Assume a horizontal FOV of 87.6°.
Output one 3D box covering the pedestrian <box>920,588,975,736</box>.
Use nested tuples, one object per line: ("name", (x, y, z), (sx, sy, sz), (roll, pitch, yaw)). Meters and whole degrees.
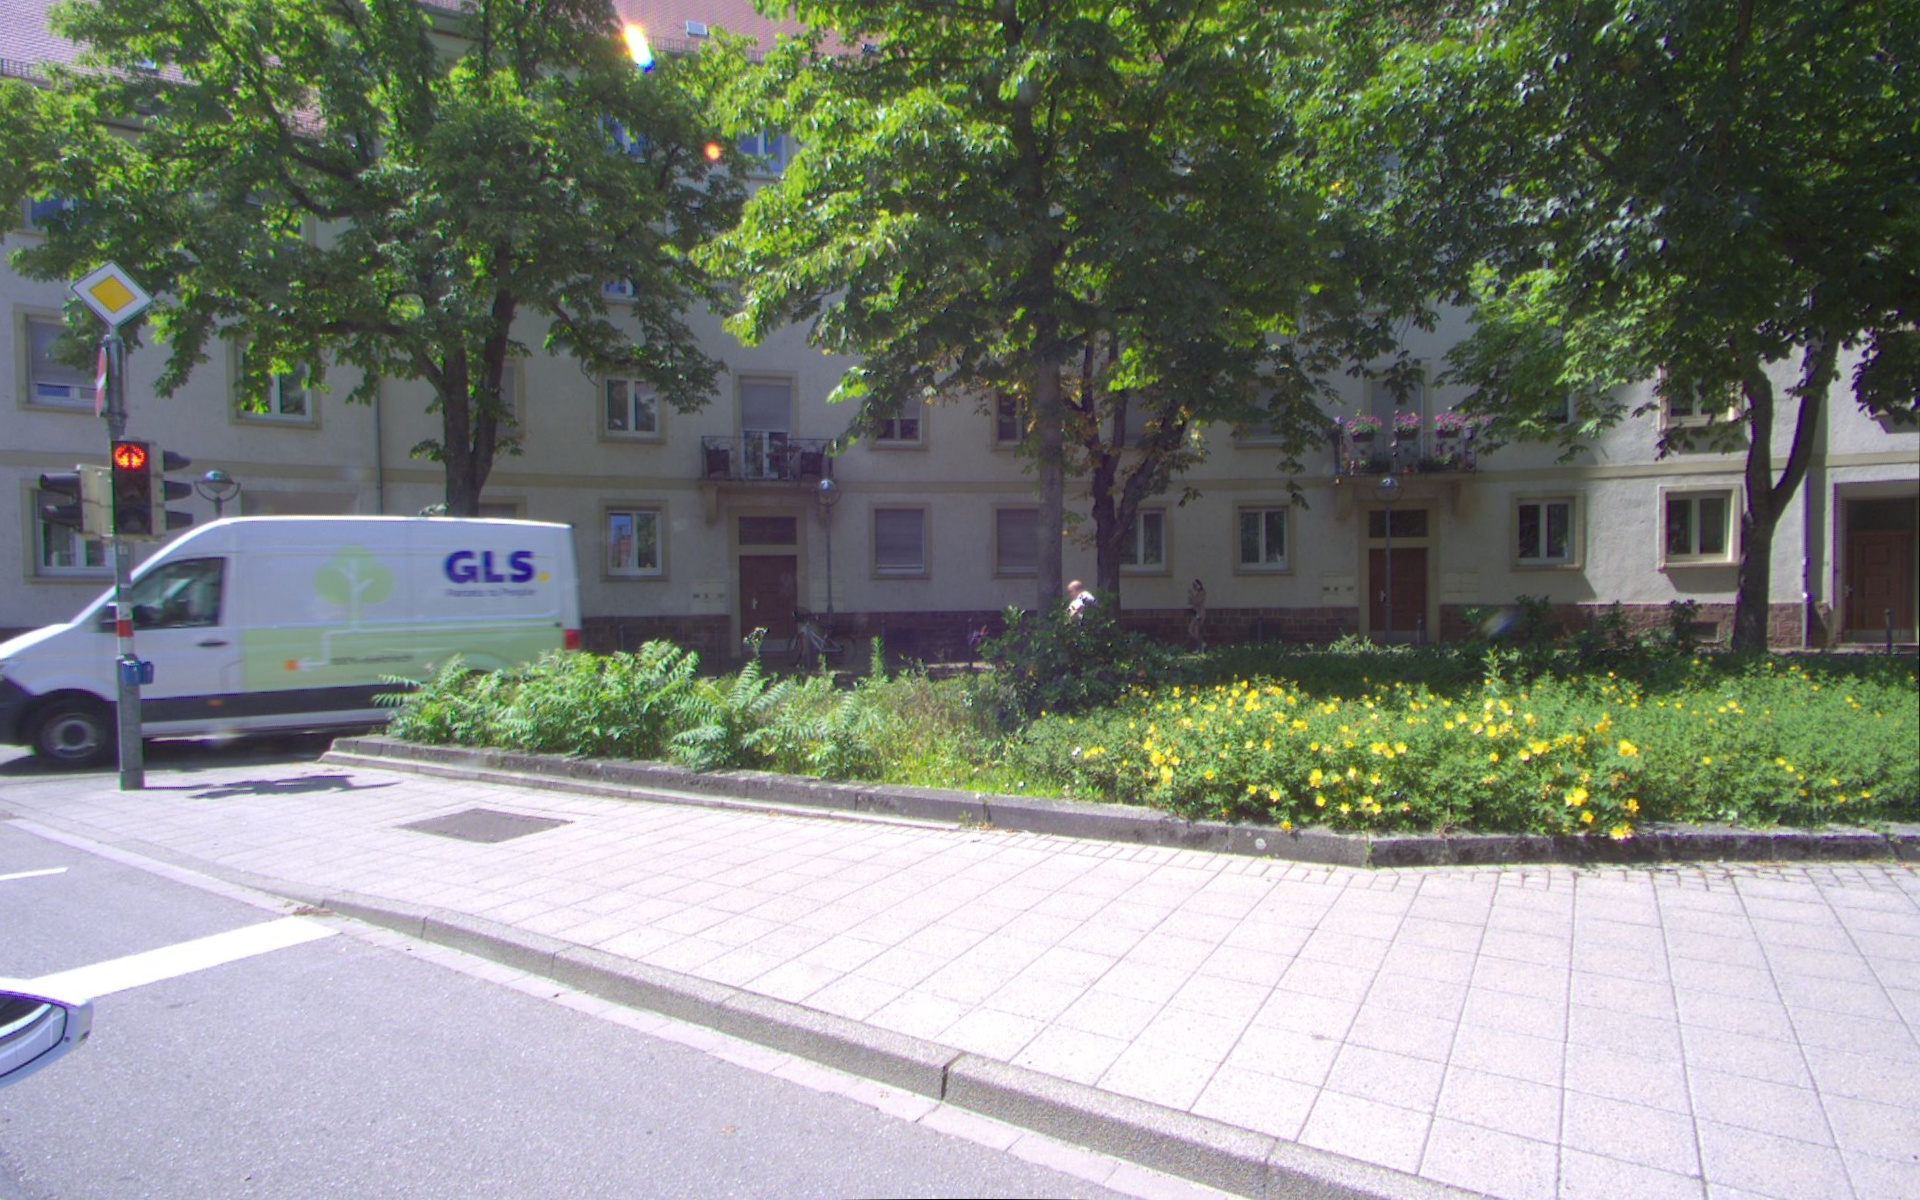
("pedestrian", (-0.110, 0.554, 9.079), (0.345, 1.301, 0.365), (-1, 0, 32))

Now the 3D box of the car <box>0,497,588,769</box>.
("car", (-7.422, 0.310, 11.547), (5.756, 2.624, 1.993), (-1, 1, -24))

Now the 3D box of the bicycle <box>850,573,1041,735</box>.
("bicycle", (-0.164, 0.495, 9.109), (1.809, 1.377, 0.351), (-2, -1, 32))

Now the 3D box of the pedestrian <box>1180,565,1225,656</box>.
("pedestrian", (5.565, 0.247, 23.009), (0.758, 2.040, 0.807), (0, 0, -8))

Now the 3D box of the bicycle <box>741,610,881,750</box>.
("bicycle", (-1.305, 0.677, 8.658), (1.269, 1.141, 0.332), (-2, -1, 32))

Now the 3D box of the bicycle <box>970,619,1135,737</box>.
("bicycle", (1.238, 1.021, 13.483), (2.127, 1.505, 0.593), (0, 0, -11))

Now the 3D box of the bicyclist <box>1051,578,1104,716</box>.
("bicyclist", (1.584, 0.620, 13.556), (0.524, 1.823, 0.603), (0, 0, -13))
